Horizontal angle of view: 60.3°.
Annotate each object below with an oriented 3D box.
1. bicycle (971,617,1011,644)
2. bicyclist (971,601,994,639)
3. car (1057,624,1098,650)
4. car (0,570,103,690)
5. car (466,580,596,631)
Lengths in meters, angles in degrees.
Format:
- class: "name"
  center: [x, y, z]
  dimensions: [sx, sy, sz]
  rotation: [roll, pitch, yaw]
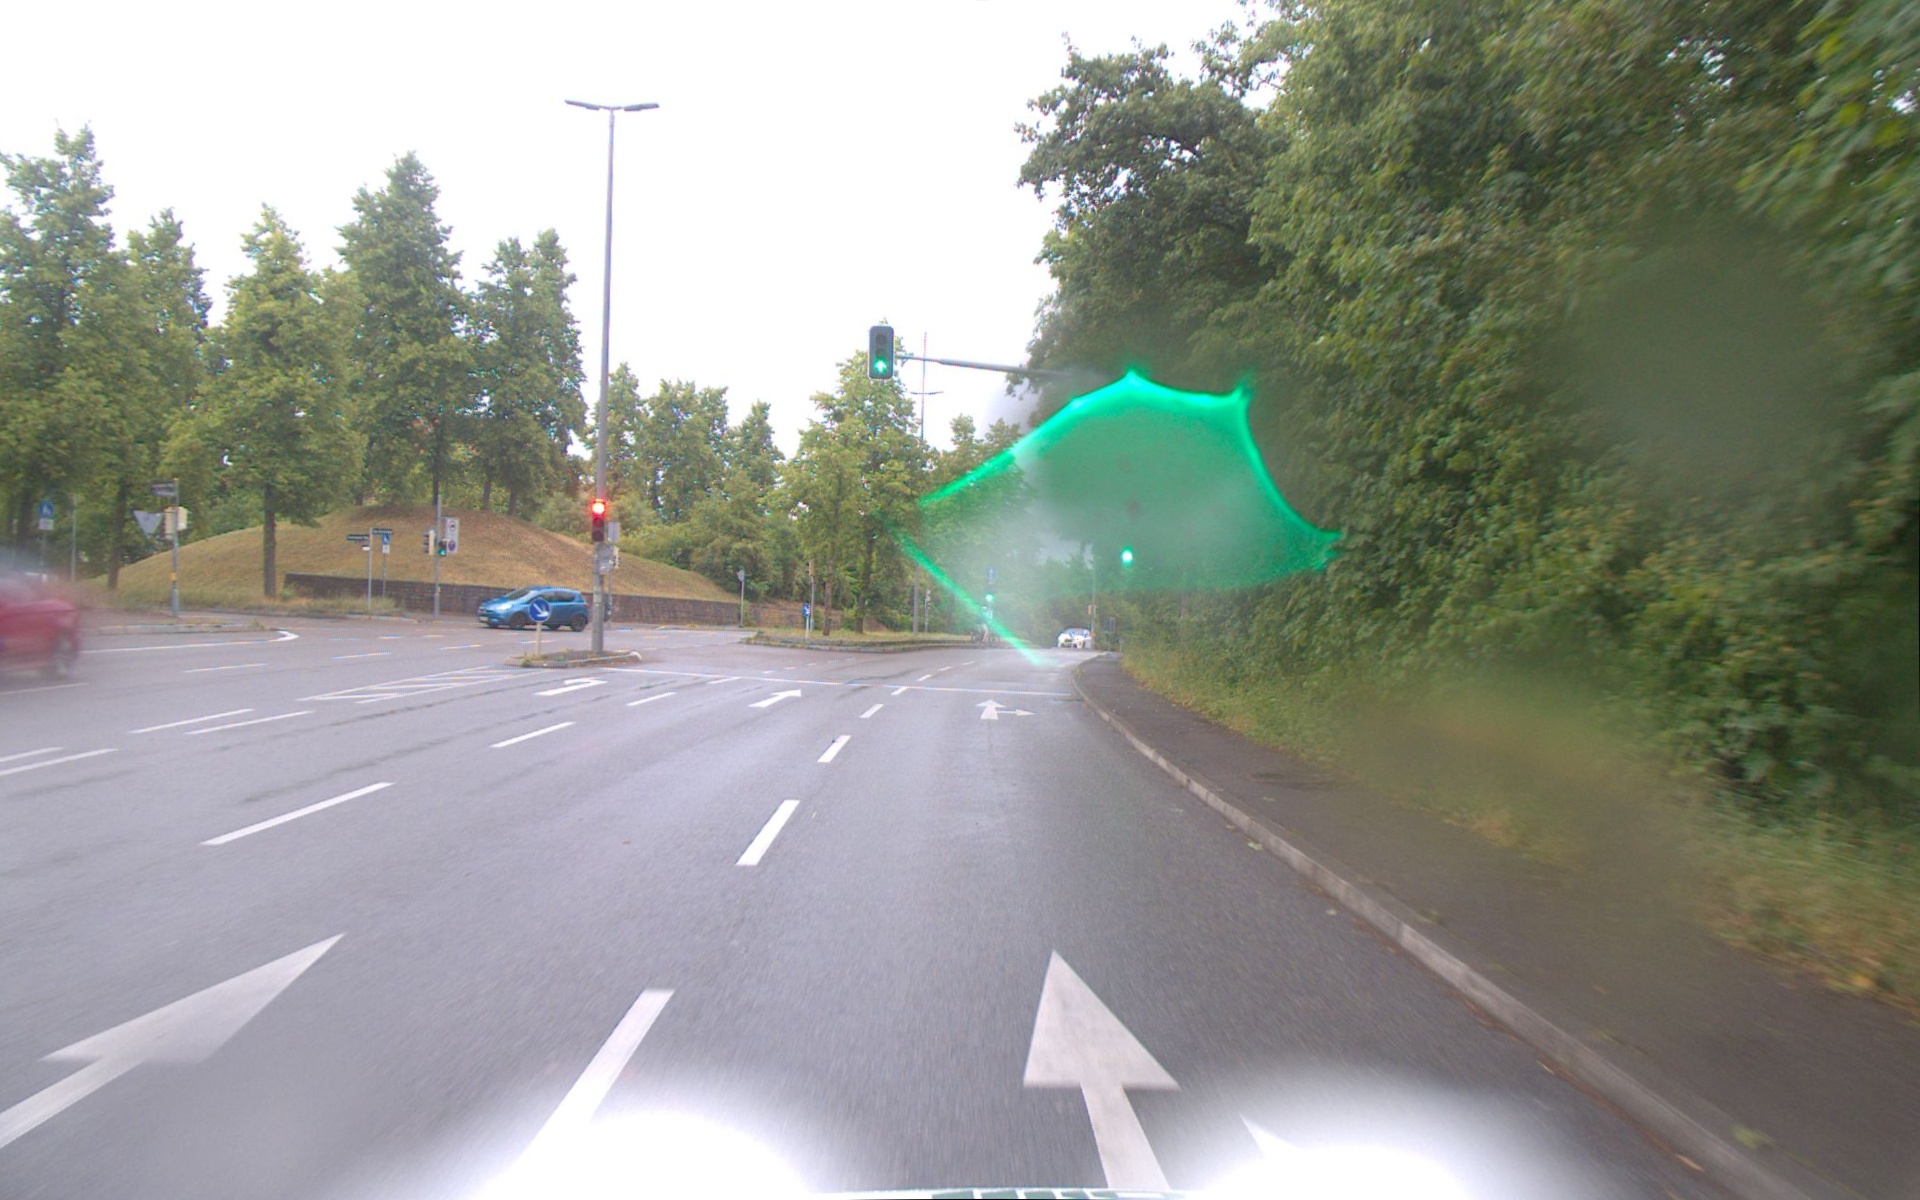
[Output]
- class: "bicycle"
  center: [1.485, 1.462, 78.935]
  dimensions: [2.123, 1.163, 0.545]
  rotation: [4, -2, -44]
- class: "bicyclist"
  center: [1.085, 0.965, 78.878]
  dimensions: [0.795, 1.783, 0.713]
  rotation: [5, -5, -43]
- class: "car"
  center: [8.889, 2.804, 124.371]
  dimensions: [1.904, 1.664, 5.007]
  rotation: [3, -2, 17]
- class: "car"
  center: [-12.362, 0.339, 20.067]
  dimensions: [1.838, 1.398, 4.381]
  rotation: [2, 0, -4]
- class: "car"
  center: [-14.939, 0.205, 57.716]
  dimensions: [1.965, 1.516, 3.913]
  rotation: [2, -1, 42]
